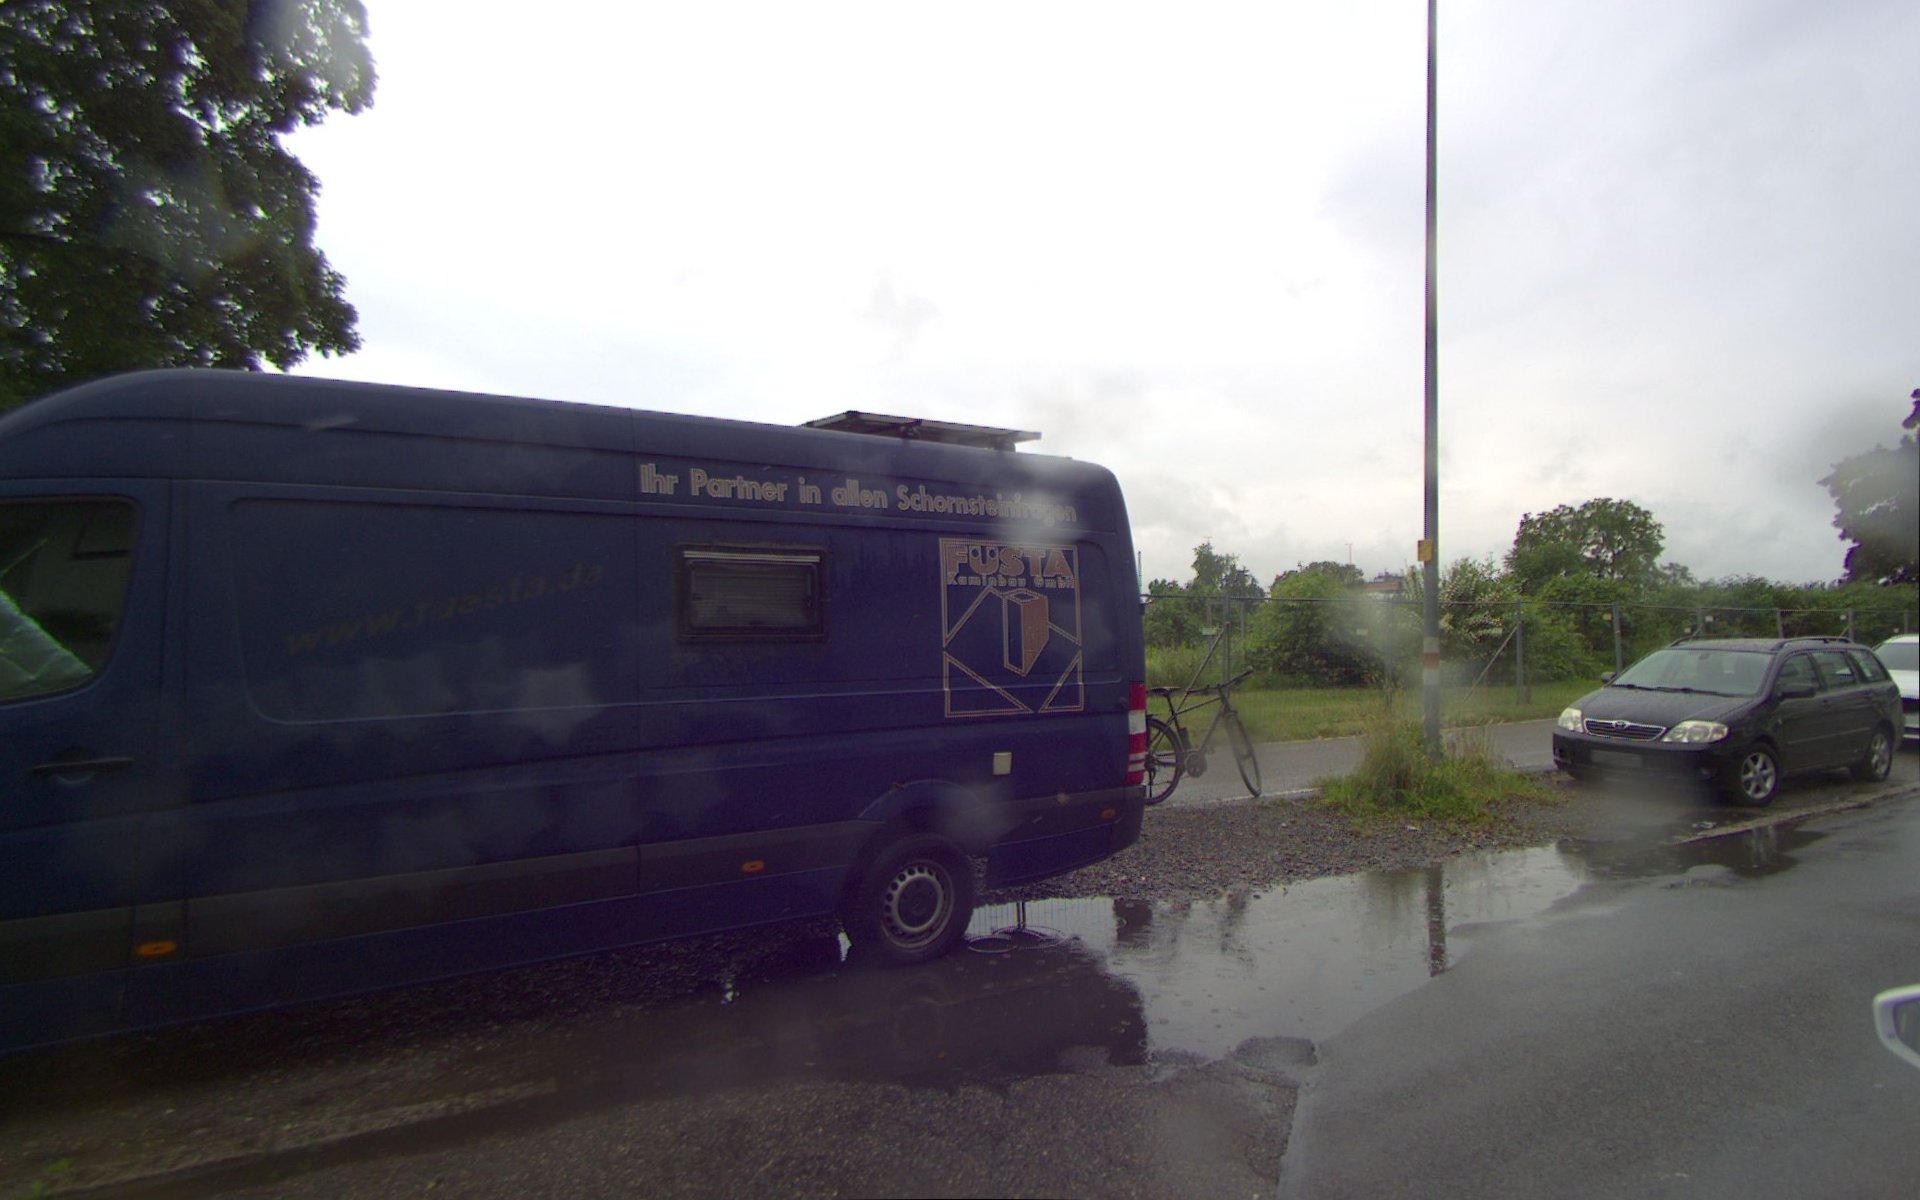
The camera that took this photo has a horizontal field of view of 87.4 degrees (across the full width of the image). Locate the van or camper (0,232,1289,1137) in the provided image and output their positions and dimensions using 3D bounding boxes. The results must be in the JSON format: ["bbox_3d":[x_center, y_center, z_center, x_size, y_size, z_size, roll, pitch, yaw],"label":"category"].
[{"bbox_3d":[-1.740,0.302,5.013,7.489,2.752,2.083,1,0,-32],"label":"van or camper"}]

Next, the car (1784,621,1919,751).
[{"bbox_3d":[13.633,1.098,13.880,5.050,1.546,1.877,1,0,-31],"label":"car"}]

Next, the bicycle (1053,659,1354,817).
[{"bbox_3d":[2.156,1.153,8.818,2.640,1.165,0.694,0,0,-21],"label":"bicycle"}]

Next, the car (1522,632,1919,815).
[{"bbox_3d":[8.213,1.125,10.627,4.769,1.522,1.766,1,0,-30],"label":"car"}]
